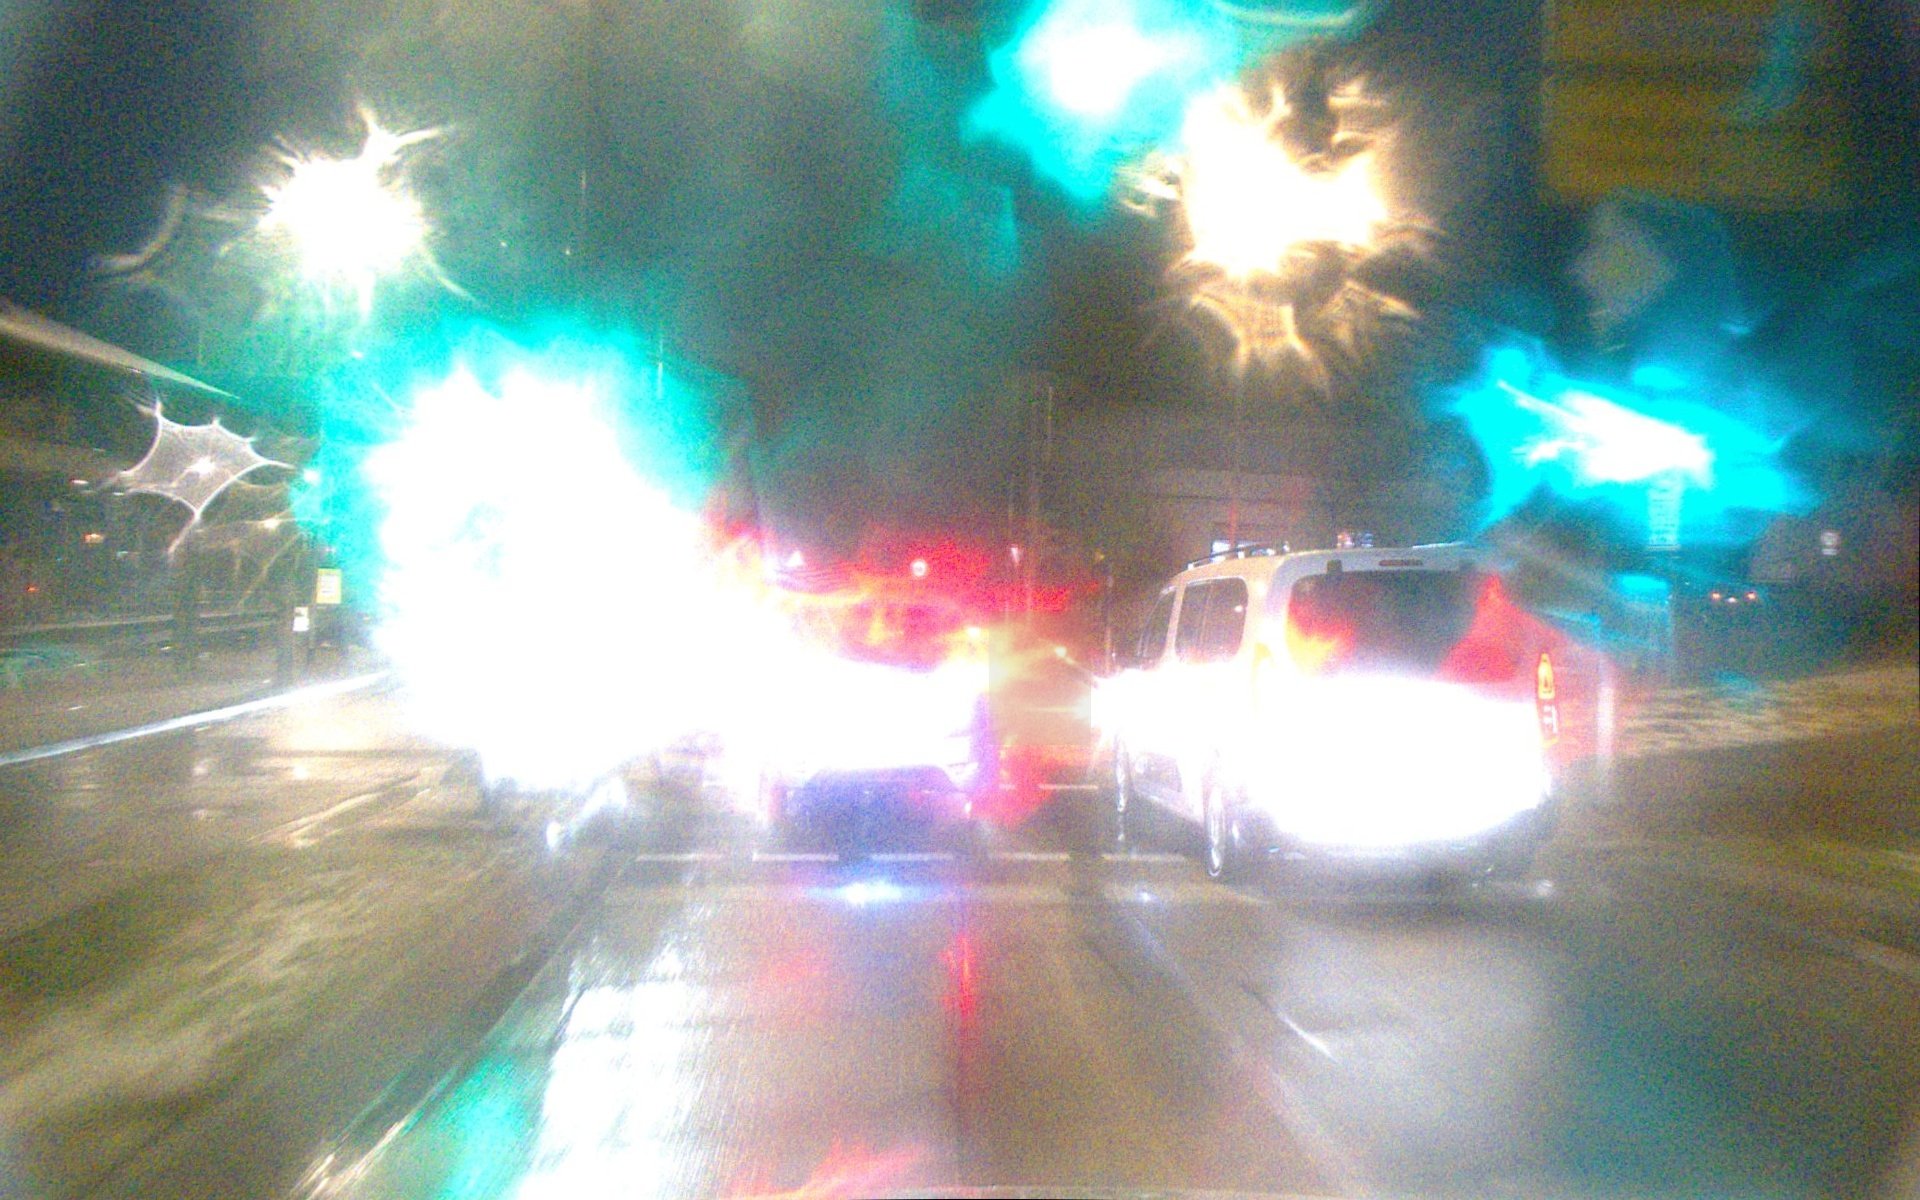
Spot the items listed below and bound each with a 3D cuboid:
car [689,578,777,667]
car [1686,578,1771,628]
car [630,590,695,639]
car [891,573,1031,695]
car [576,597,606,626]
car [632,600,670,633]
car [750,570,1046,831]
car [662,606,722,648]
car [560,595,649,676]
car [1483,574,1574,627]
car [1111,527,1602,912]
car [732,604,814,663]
[{"bbox_3d":[-5.617,0.529,40.528,1.957,2.049,3.990,1,0,-10],"label":"car"},{"bbox_3d":[27.395,0.124,59.051,1.734,1.698,4.073,1,0,10],"label":"car"},{"bbox_3d":[-11.342,0.537,62.862,1.962,1.763,3.980,1,0,-18],"label":"car"},{"bbox_3d":[-0.055,0.585,30.508,1.933,2.082,3.991,1,0,-10],"label":"car"},{"bbox_3d":[-24.926,0.765,111.660,1.959,1.856,3.986,1,0,-13],"label":"car"},{"bbox_3d":[-17.998,0.968,96.213,1.959,1.852,3.987,1,0,-13],"label":"car"},{"bbox_3d":[-0.612,0.688,13.395,1.975,1.747,4.446,1,0,-5],"label":"car"},{"bbox_3d":[-11.606,1.141,71.440,1.962,1.699,3.980,1,0,-18],"label":"car"},{"bbox_3d":[-9.149,0.861,42.383,1.981,1.920,4.434,1,0,-15],"label":"car"},{"bbox_3d":[19.098,0.028,55.692,1.826,1.675,3.965,-2,0,3],"label":"car"},{"bbox_3d":[2.184,0.607,10.412,1.815,1.897,4.337,1,0,-3],"label":"car"},{"bbox_3d":[-5.851,1.018,51.448,1.960,1.748,3.984,1,0,-15],"label":"car"}]
